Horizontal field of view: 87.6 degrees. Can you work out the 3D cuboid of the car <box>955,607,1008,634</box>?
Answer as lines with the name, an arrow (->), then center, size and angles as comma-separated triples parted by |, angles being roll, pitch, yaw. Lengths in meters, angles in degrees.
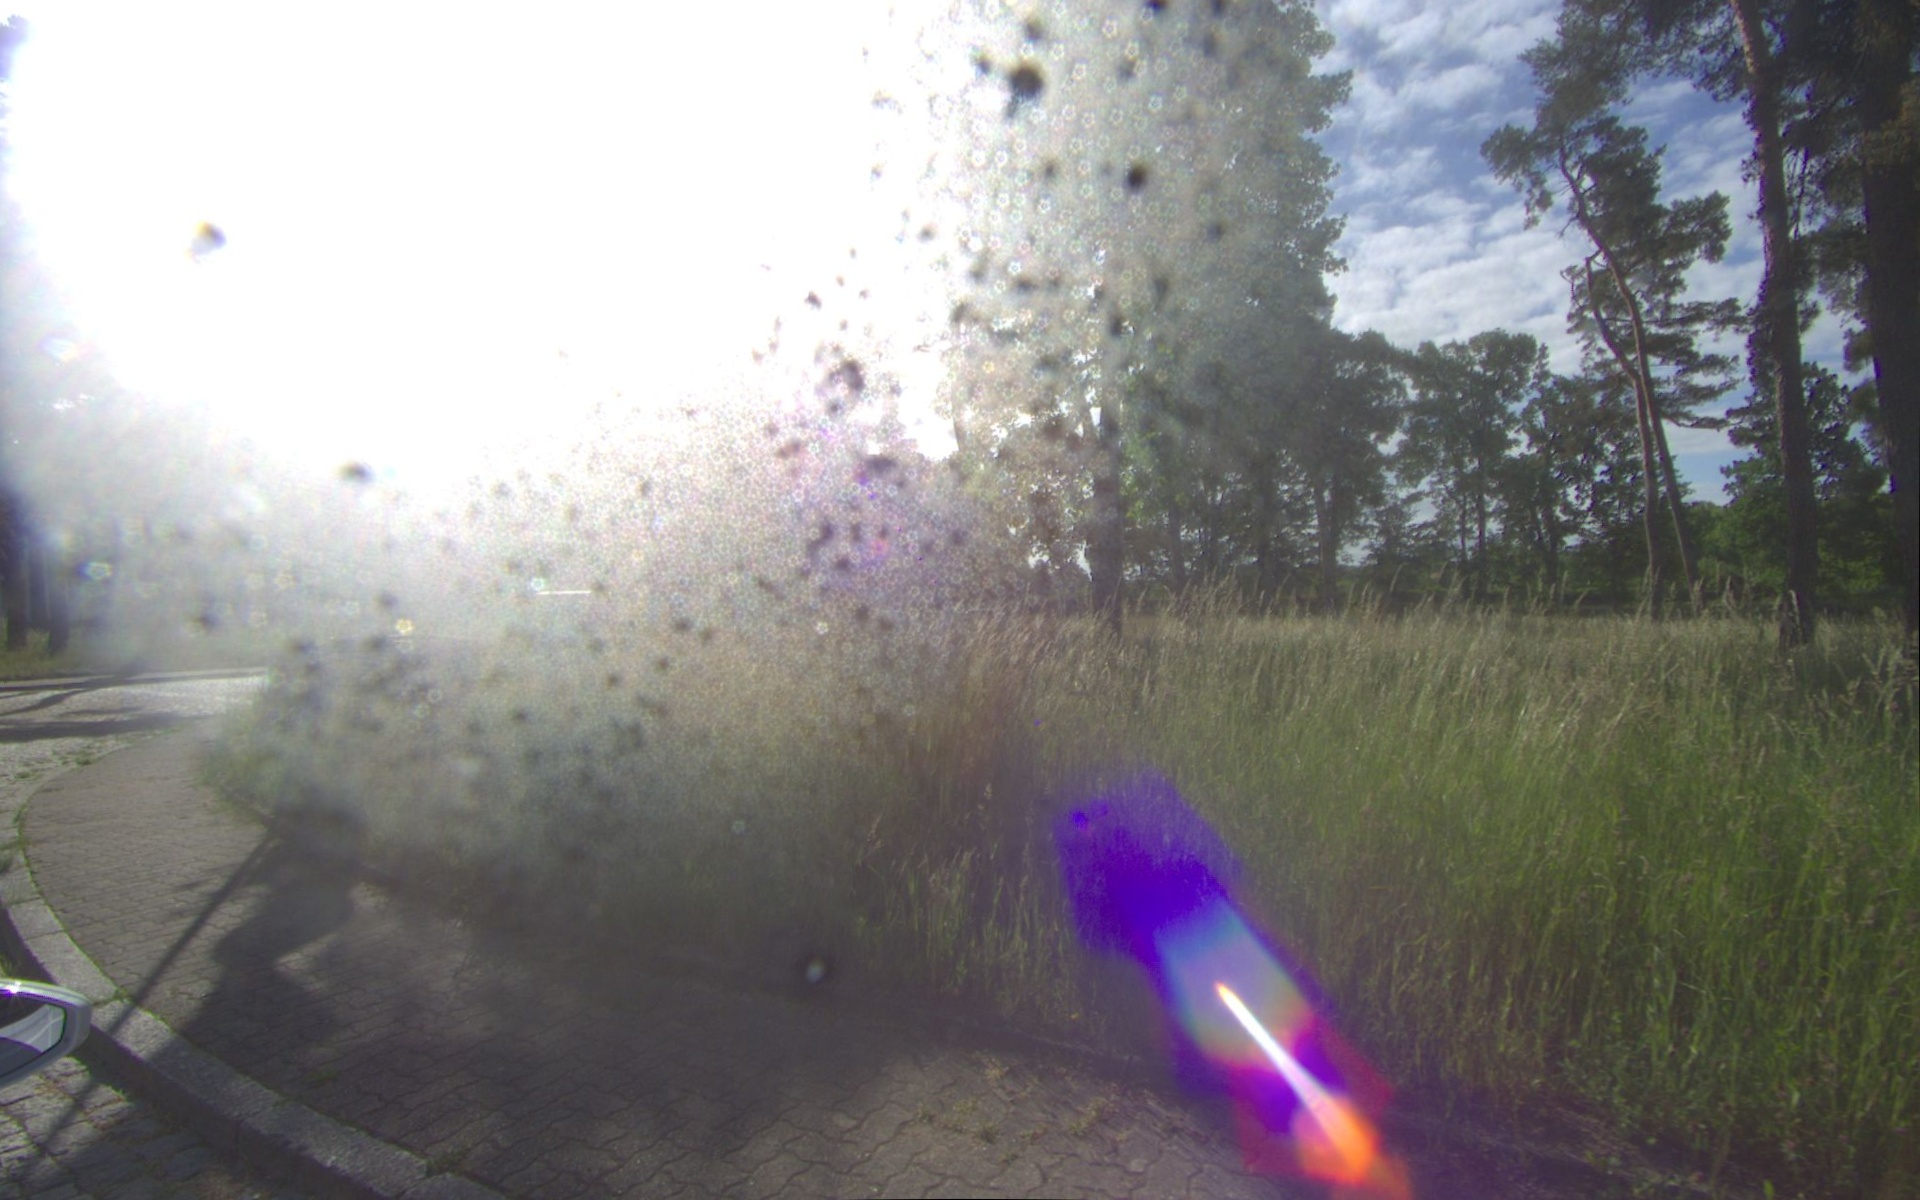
car -> 1.399, 1.296, 63.956 | 1.826, 1.620, 3.985 | 0, 0, 27

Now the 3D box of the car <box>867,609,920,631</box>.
car -> -4.509, 1.361, 68.462 | 1.818, 1.483, 3.985 | 0, 0, 27
